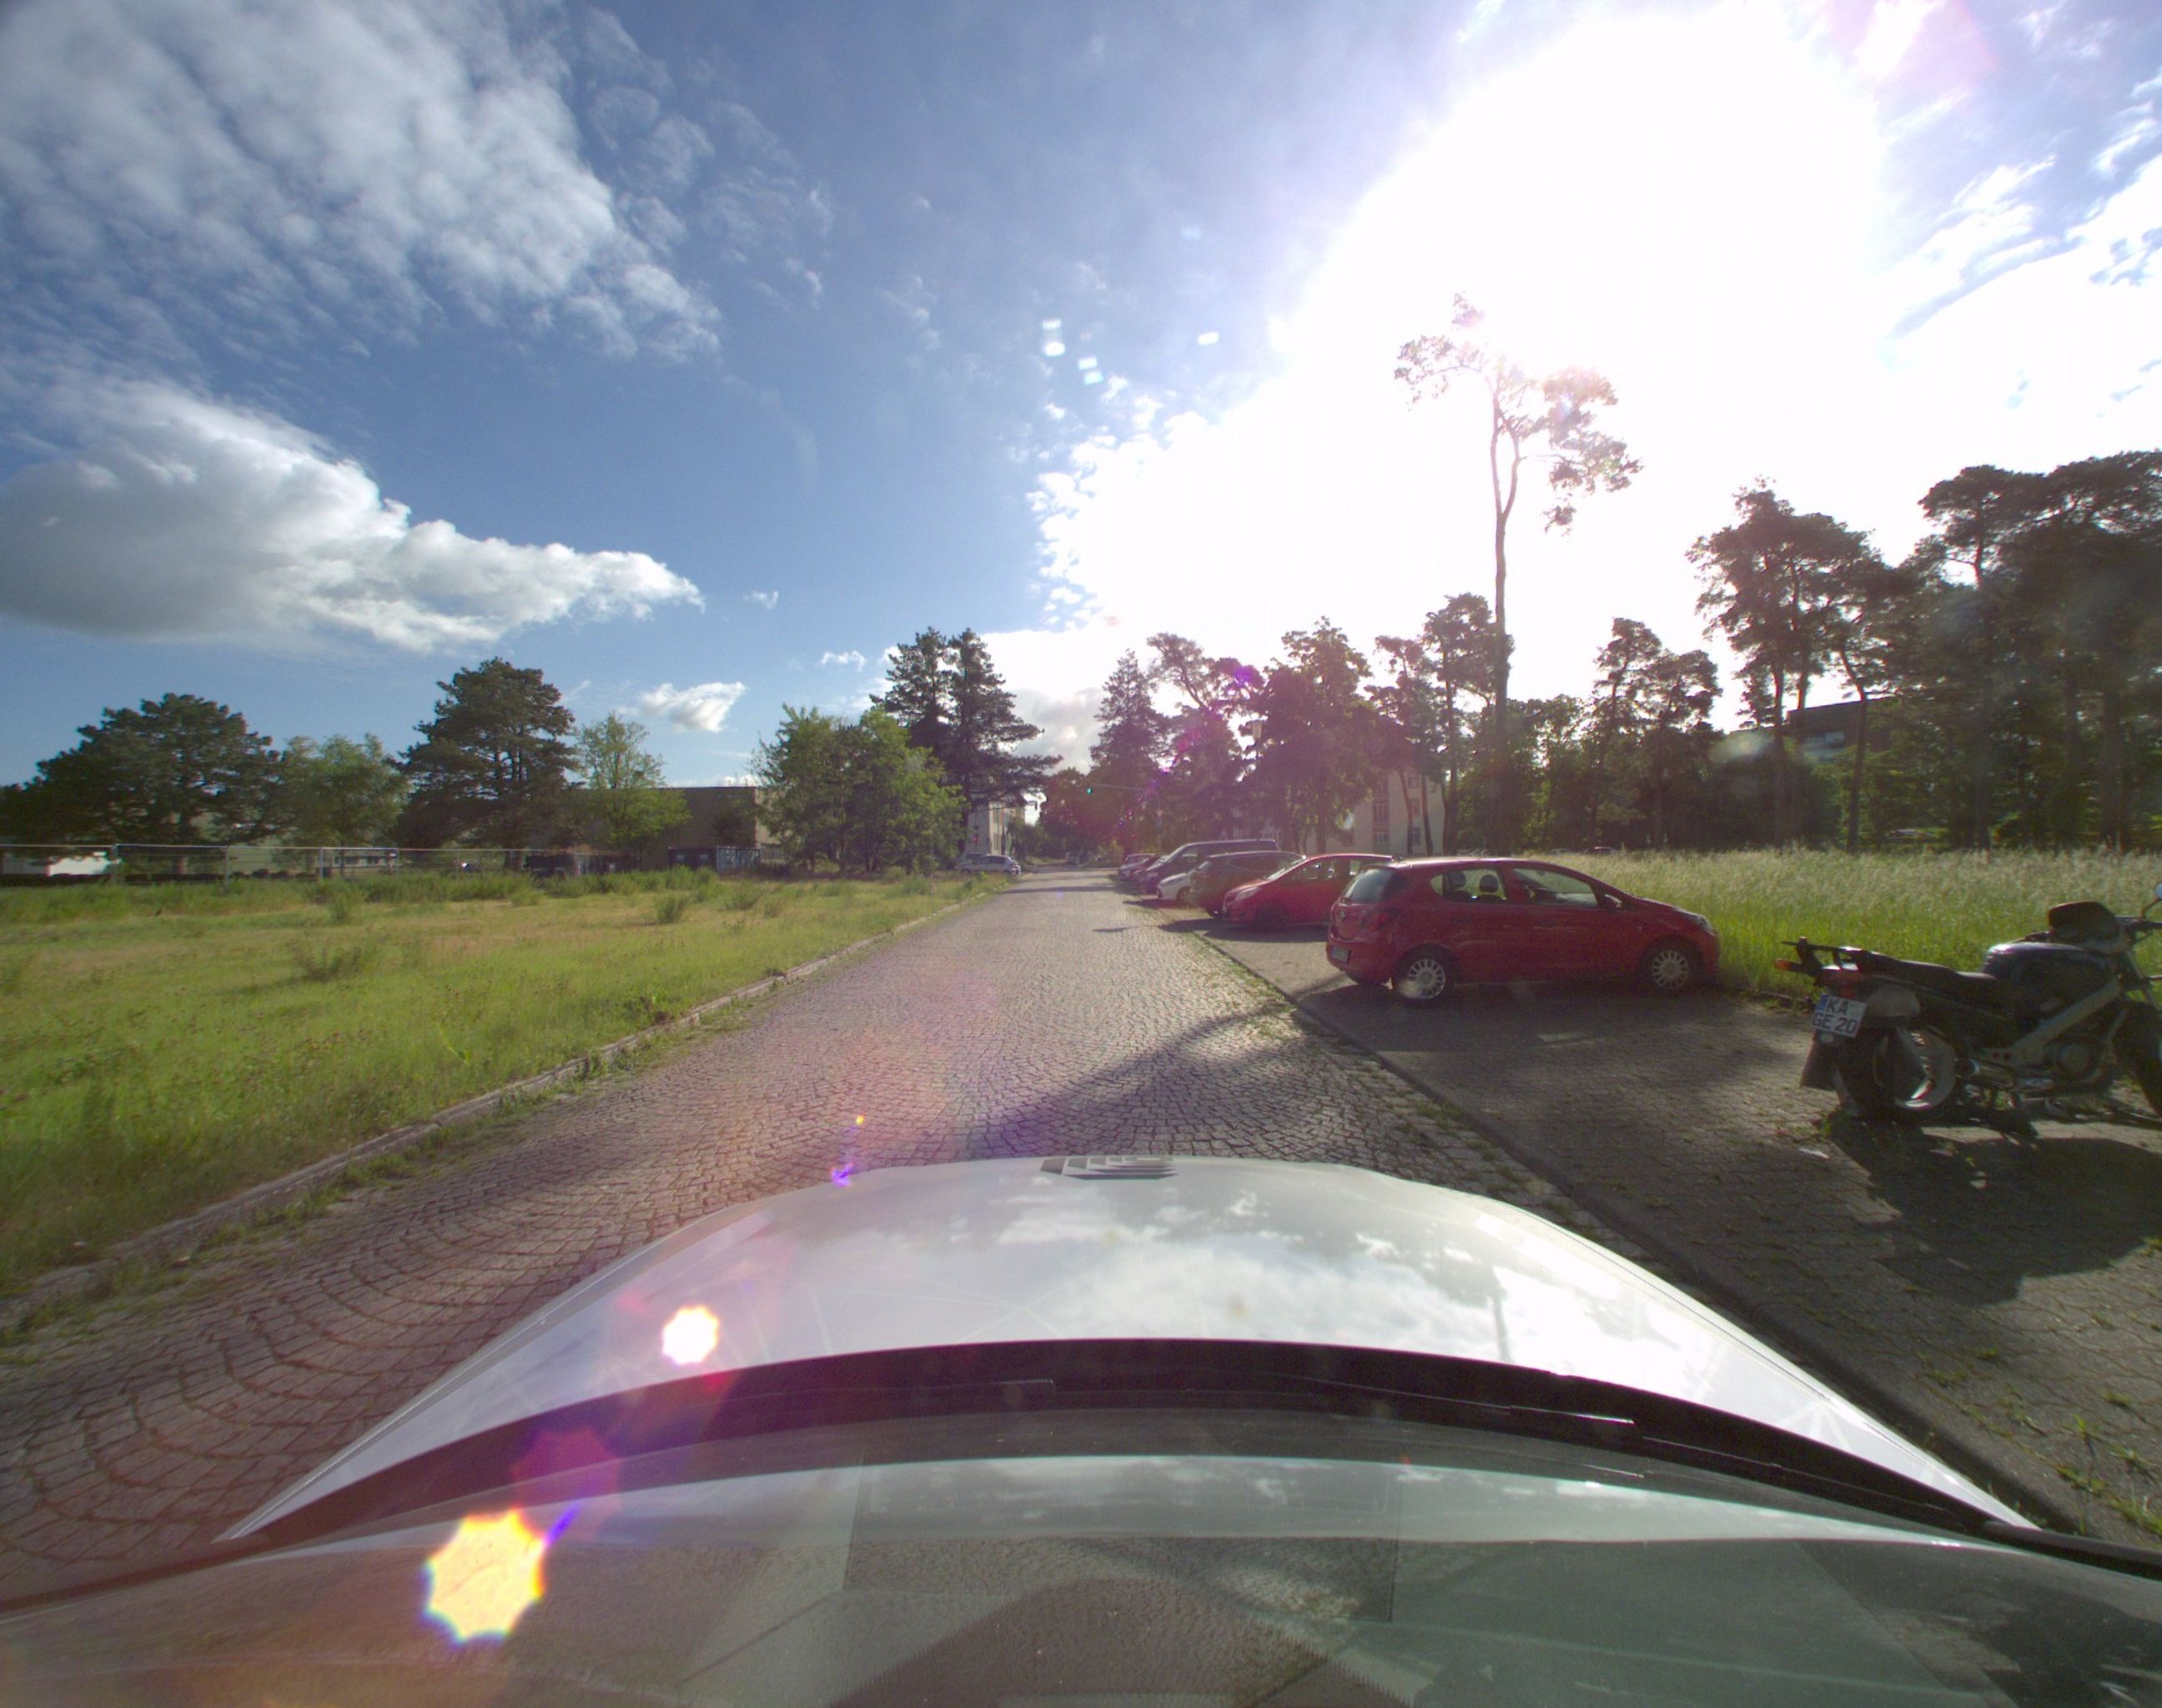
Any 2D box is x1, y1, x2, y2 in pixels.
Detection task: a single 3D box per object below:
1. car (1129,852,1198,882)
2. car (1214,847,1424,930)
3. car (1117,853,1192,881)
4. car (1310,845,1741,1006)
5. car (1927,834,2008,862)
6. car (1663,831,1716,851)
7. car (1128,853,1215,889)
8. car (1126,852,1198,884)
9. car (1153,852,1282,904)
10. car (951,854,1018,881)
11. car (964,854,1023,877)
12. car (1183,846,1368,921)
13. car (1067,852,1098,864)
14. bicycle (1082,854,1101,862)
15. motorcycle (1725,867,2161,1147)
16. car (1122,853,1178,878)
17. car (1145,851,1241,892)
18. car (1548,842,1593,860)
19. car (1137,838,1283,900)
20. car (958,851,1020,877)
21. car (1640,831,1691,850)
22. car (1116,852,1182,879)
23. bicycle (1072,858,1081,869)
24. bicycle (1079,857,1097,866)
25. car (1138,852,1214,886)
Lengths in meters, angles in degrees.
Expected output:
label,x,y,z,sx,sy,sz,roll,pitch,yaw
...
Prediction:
label,x,y,z,sx,sy,sz,roll,pitch,yaw
car,4.461,0.707,44.394,3.593,1.529,1.644,-1,0,-2
car,4.722,0.664,16.494,3.753,1.530,1.644,-1,0,-2
car,4.159,0.711,46.467,4.027,1.529,1.643,-1,0,-5
car,4.661,0.700,8.901,3.816,1.478,1.644,-2,0,-2
car,66.942,-0.471,61.528,3.975,2.013,1.999,-1,0,-1
car,61.993,-1.311,83.008,3.975,2.013,1.999,-1,0,-1
car,3.997,0.746,36.315,3.666,1.467,1.644,-2,0,-2
car,4.139,0.711,41.928,3.469,1.529,1.644,-1,0,-2
car,4.232,0.718,25.578,3.711,1.488,1.643,-2,0,-3
car,-5.987,0.834,50.915,3.978,1.600,1.998,-1,0,-4
car,-6.258,0.797,58.699,3.976,1.453,1.999,2,0,-2
car,4.488,0.661,19.165,3.926,1.621,1.770,-1,0,-2
car,0.238,0.602,118.261,4.468,1.728,1.999,0,0,-2
bicycle,1.303,0.493,101.979,2.173,1.100,0.804,0,0,-11
motorcycle,4.968,0.773,4.473,2.293,1.320,0.726,-2,0,-1
car,4.367,0.709,51.882,3.335,1.483,1.644,-1,0,-2
car,4.535,0.691,33.439,3.682,1.465,1.645,-3,0,0
car,57.191,-0.387,95.172,3.975,2.013,1.999,-1,0,-1
car,4.381,0.493,28.173,4.667,2.013,2.081,-1,0,-4
car,-6.311,0.695,56.298,3.976,1.601,1.999,3,0,-2
car,61.663,-1.418,85.943,3.975,2.013,1.999,-1,0,-1
car,4.086,0.697,49.237,3.826,1.529,1.644,-1,0,-2
bicycle,-0.522,1.102,96.606,0.803,1.169,2.175,-3,0,-6
bicycle,0.878,0.907,100.802,2.173,1.100,0.804,0,0,-11
car,4.540,0.708,39.244,3.469,1.529,1.644,-1,0,-2
